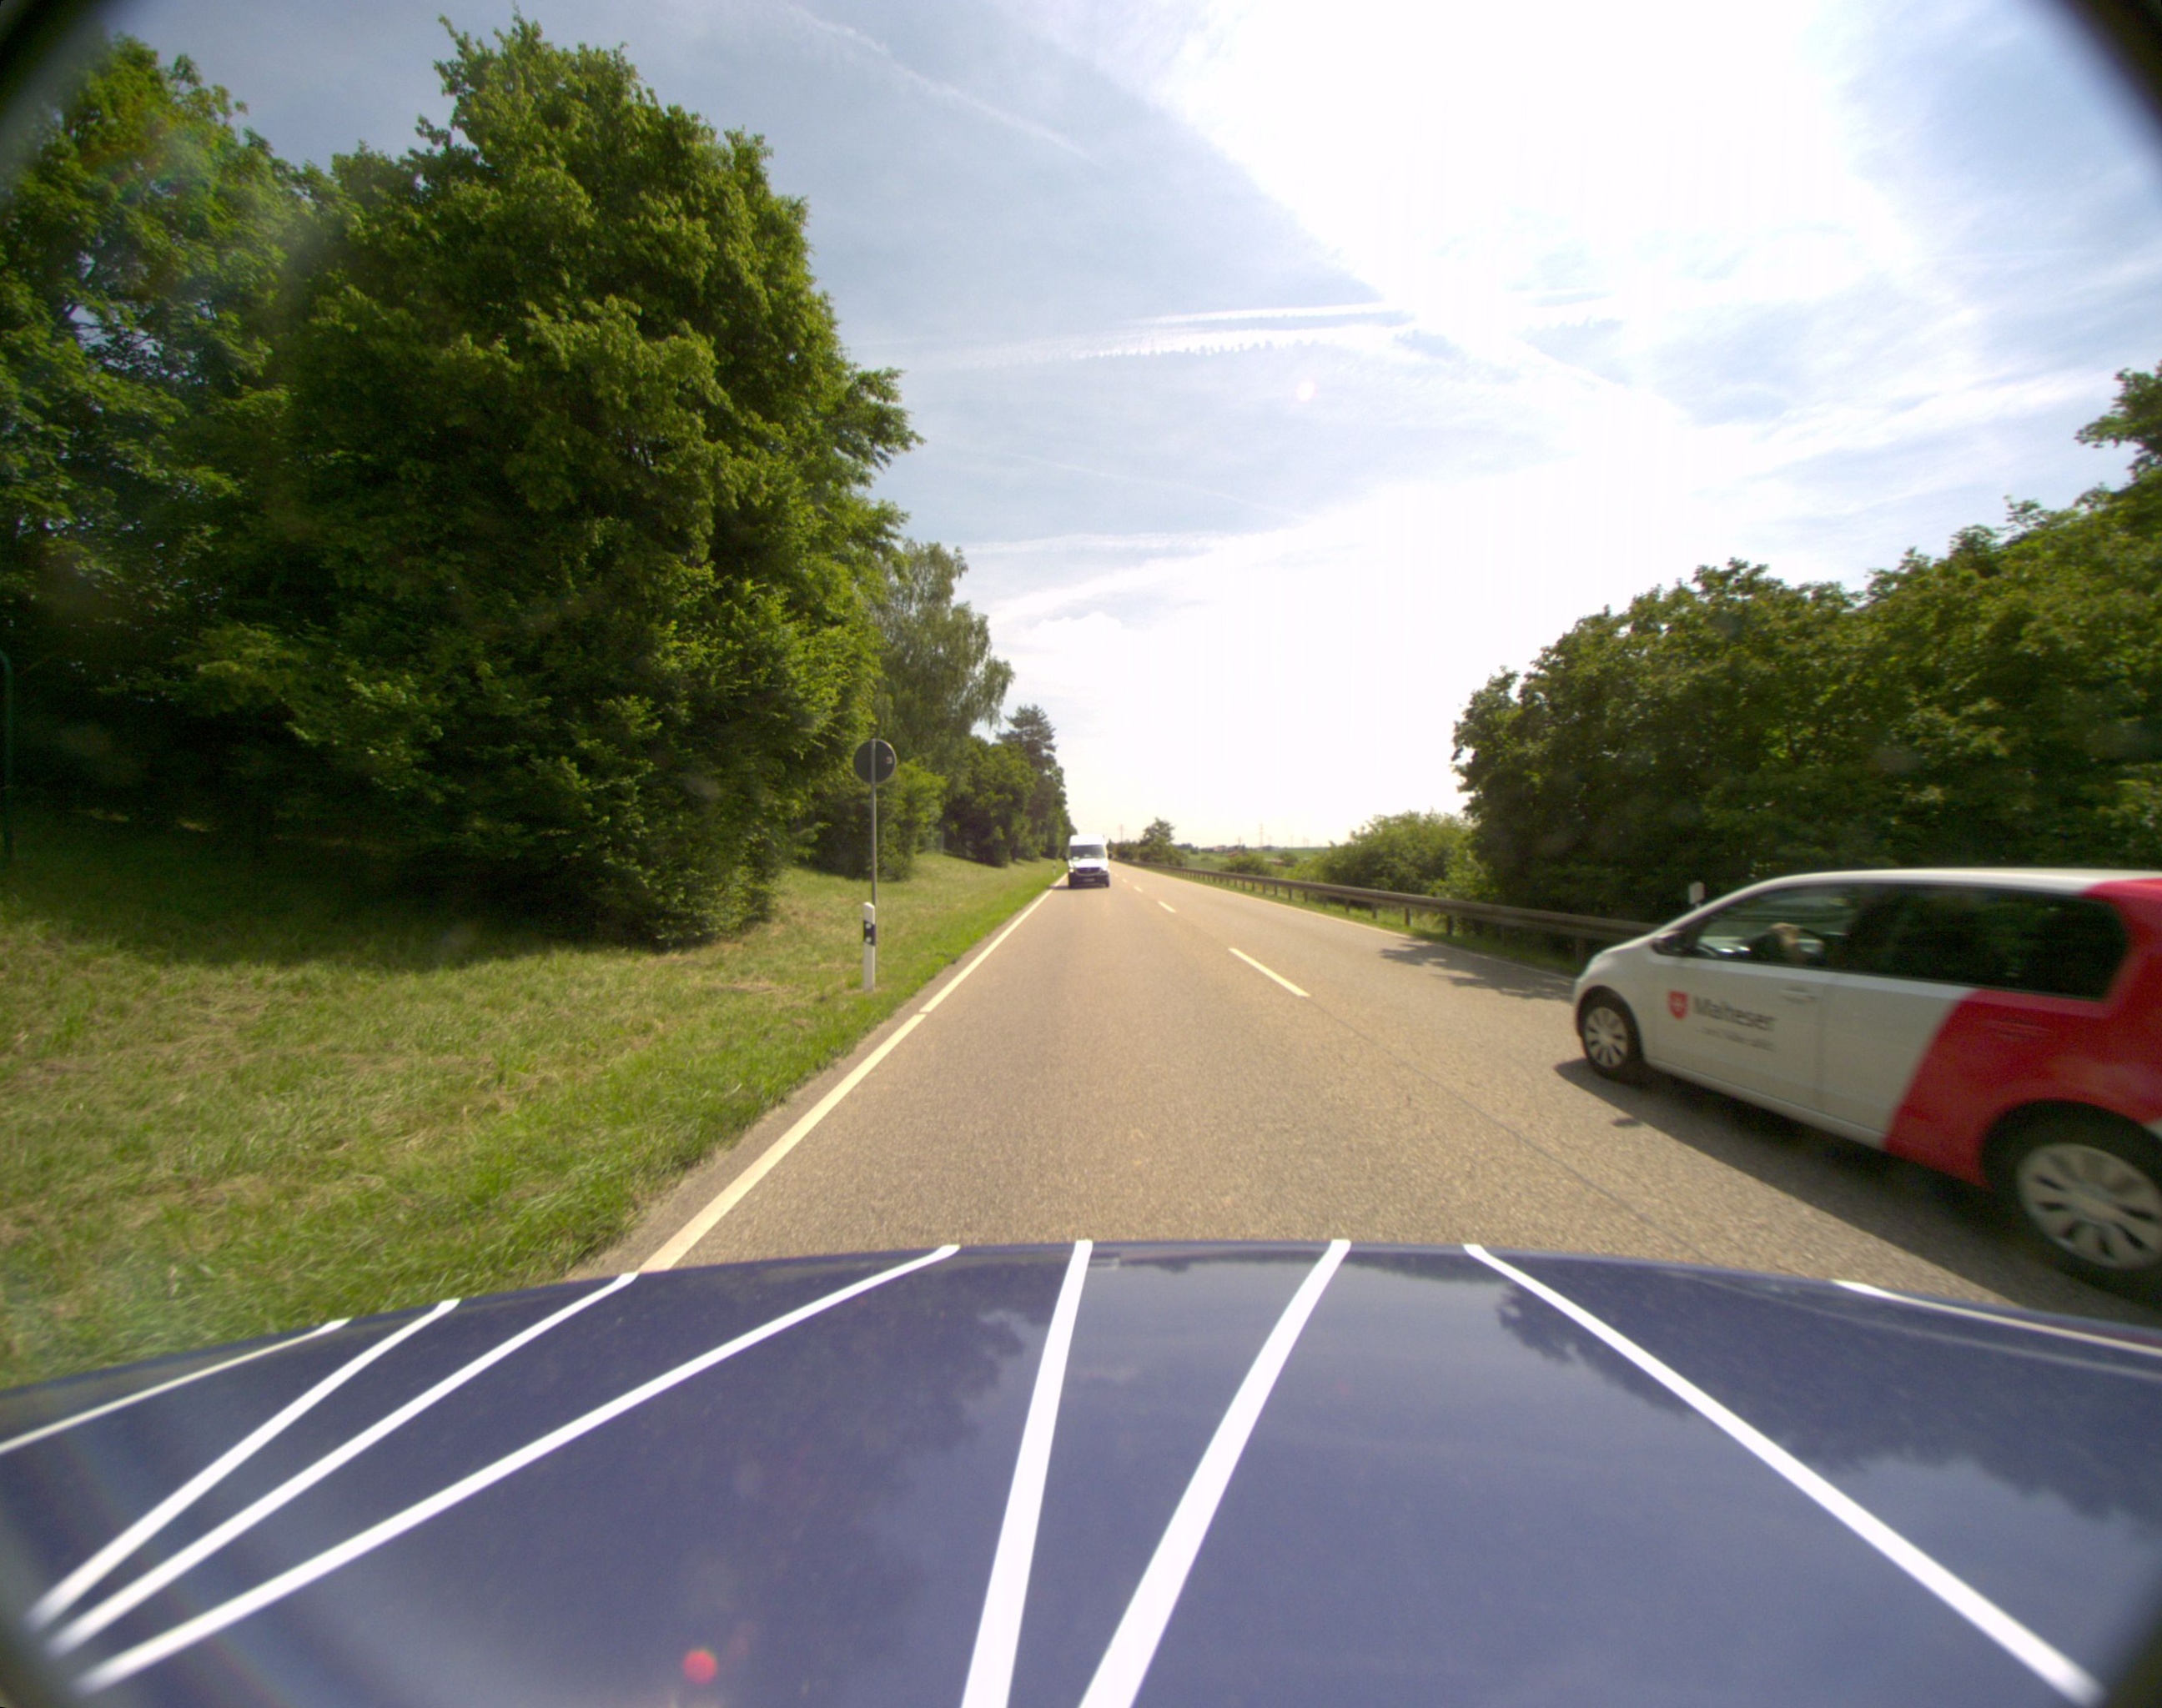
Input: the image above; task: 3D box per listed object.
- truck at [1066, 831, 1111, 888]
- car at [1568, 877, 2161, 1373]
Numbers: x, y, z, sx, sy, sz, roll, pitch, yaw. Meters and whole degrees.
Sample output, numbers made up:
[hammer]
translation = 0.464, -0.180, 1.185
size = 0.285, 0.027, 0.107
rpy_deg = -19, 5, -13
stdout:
[truck]
translation = 0.396, 0.242, 38.716
size = 2.023, 2.567, 7.225
rpy_deg = -1, 0, 1
[car]
translation = 4.197, 0.917, 3.539
size = 1.561, 1.454, 3.549
rpy_deg = 2, 0, 1
